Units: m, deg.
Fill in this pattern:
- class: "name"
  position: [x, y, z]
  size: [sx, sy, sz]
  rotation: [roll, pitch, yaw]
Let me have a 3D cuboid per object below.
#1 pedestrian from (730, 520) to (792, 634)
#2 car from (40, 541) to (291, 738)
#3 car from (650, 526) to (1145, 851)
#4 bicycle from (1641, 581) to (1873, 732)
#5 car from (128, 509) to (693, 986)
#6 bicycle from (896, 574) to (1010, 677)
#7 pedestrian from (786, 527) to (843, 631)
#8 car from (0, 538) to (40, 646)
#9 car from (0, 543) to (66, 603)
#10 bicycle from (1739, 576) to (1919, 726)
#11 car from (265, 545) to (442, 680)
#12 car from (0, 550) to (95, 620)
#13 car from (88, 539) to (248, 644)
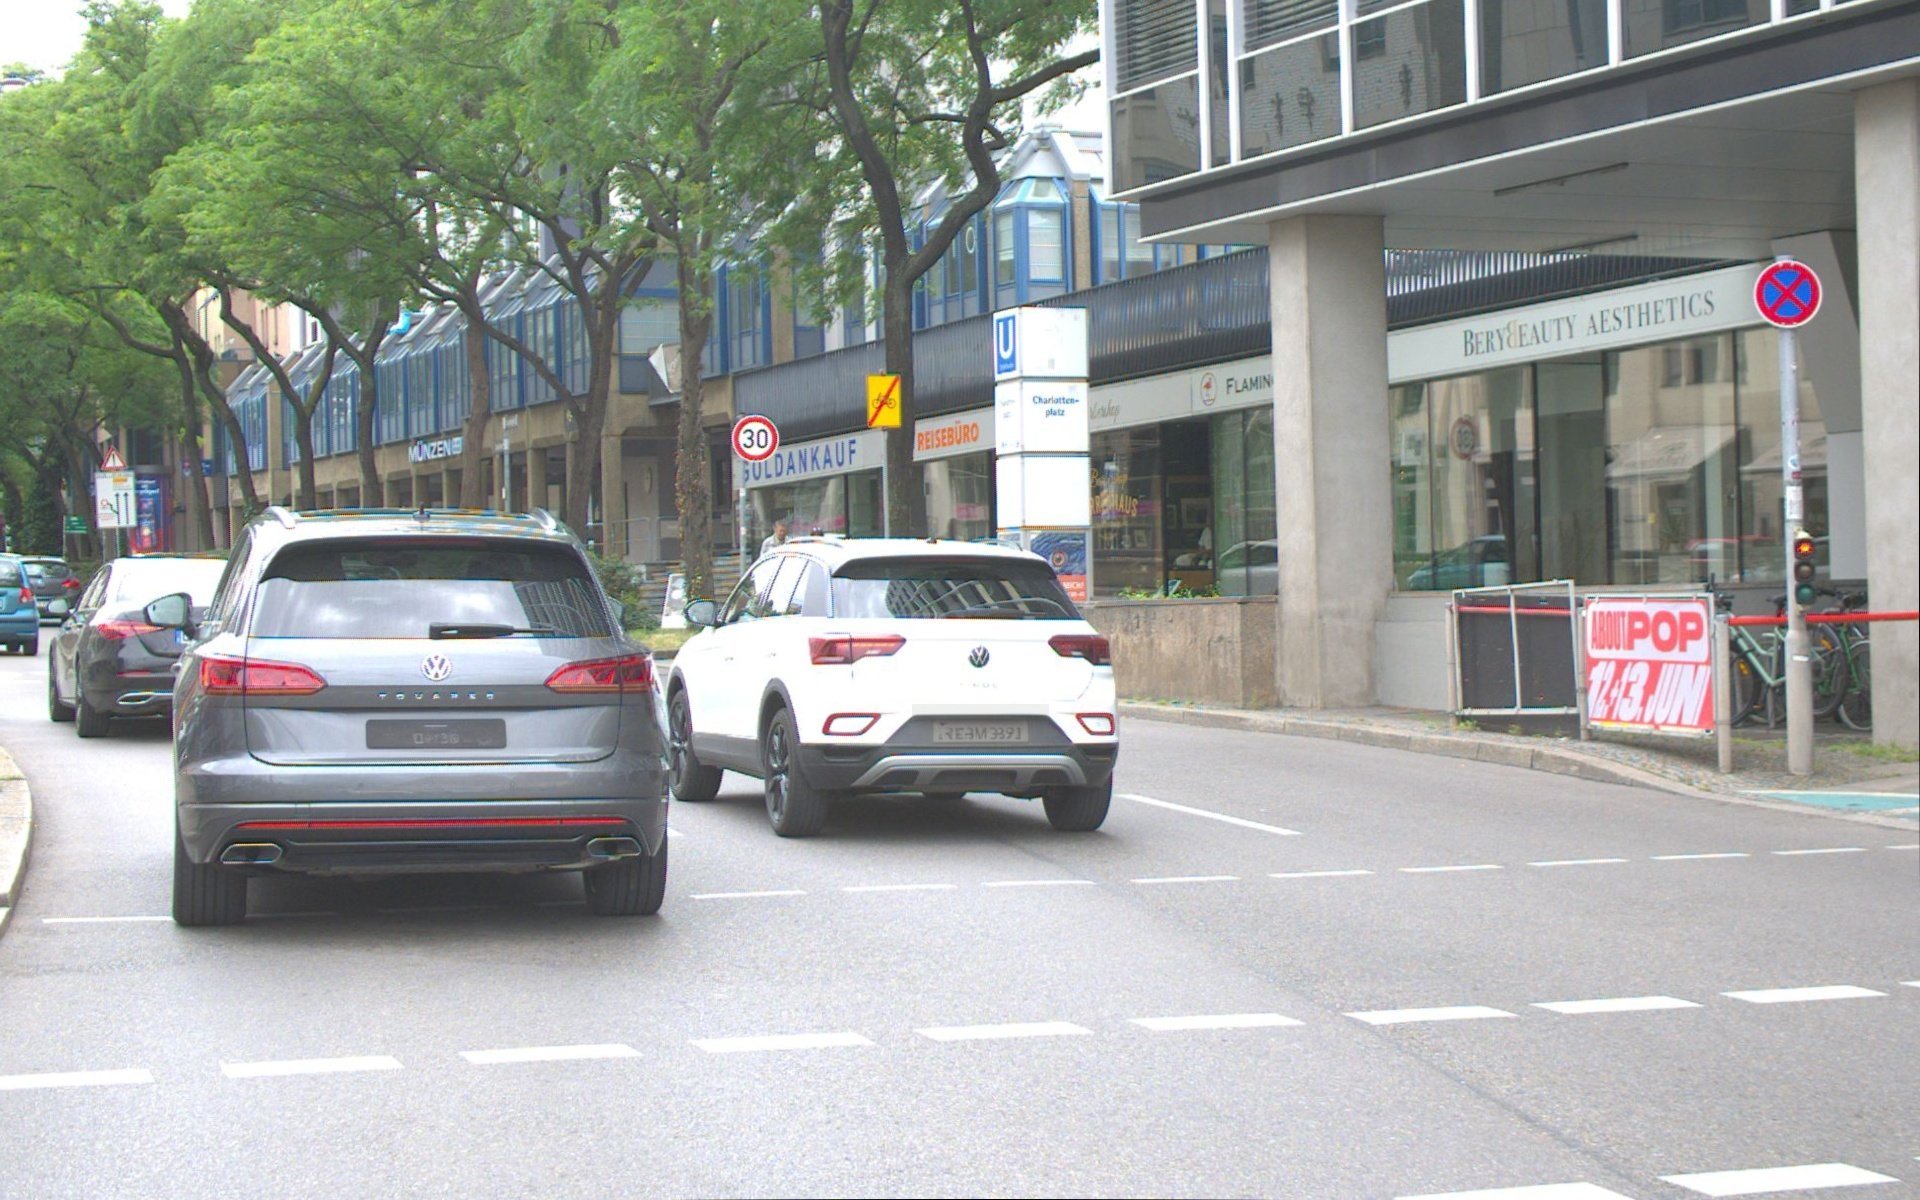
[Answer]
- class: "pedestrian"
  position: [-3.117, -0.361, 53.813]
  size: [0.595, 1.748, 0.941]
  rotation: [-2, 1, -26]
- class: "car"
  position: [-6.427, 0.257, 27.843]
  size: [1.833, 1.390, 4.149]
  rotation: [0, 2, -13]
- class: "car"
  position: [-0.465, 0.412, 19.054]
  size: [1.797, 1.540, 3.937]
  rotation: [1, 2, -15]
- class: "bicycle"
  position: [5.736, 0.388, 24.775]
  size: [0.712, 1.044, 1.486]
  rotation: [-2, 1, -41]
- class: "car"
  position: [-2.527, 0.500, 14.898]
  size: [1.969, 1.690, 4.226]
  rotation: [-2, 2, -14]
- class: "bicycle"
  position: [-0.090, 0.270, 38.891]
  size: [0.489, 1.129, 1.887]
  rotation: [-1, 1, -26]
- class: "pedestrian"
  position: [-2.290, -0.334, 54.133]
  size: [0.595, 1.623, 0.757]
  rotation: [-2, 1, -26]
- class: "car"
  position: [-14.568, -0.109, 50.218]
  size: [1.831, 1.512, 3.768]
  rotation: [-2, 1, -20]
- class: "car"
  position: [-23.949, -0.666, 86.723]
  size: [2.055, 1.413, 4.335]
  rotation: [-3, 1, -23]
- class: "bicycle"
  position: [6.514, 0.354, 25.058]
  size: [0.712, 1.044, 1.486]
  rotation: [-2, 1, -41]
- class: "car"
  position: [-7.156, 0.102, 40.323]
  size: [1.833, 1.427, 4.149]
  rotation: [0, 2, -13]
- class: "car"
  position: [-19.120, -0.333, 72.022]
  size: [1.831, 1.358, 3.768]
  rotation: [-2, 1, -15]
- class: "car"
  position: [-12.438, -0.144, 53.846]
  size: [1.831, 1.512, 3.768]
  rotation: [-2, 1, -22]
